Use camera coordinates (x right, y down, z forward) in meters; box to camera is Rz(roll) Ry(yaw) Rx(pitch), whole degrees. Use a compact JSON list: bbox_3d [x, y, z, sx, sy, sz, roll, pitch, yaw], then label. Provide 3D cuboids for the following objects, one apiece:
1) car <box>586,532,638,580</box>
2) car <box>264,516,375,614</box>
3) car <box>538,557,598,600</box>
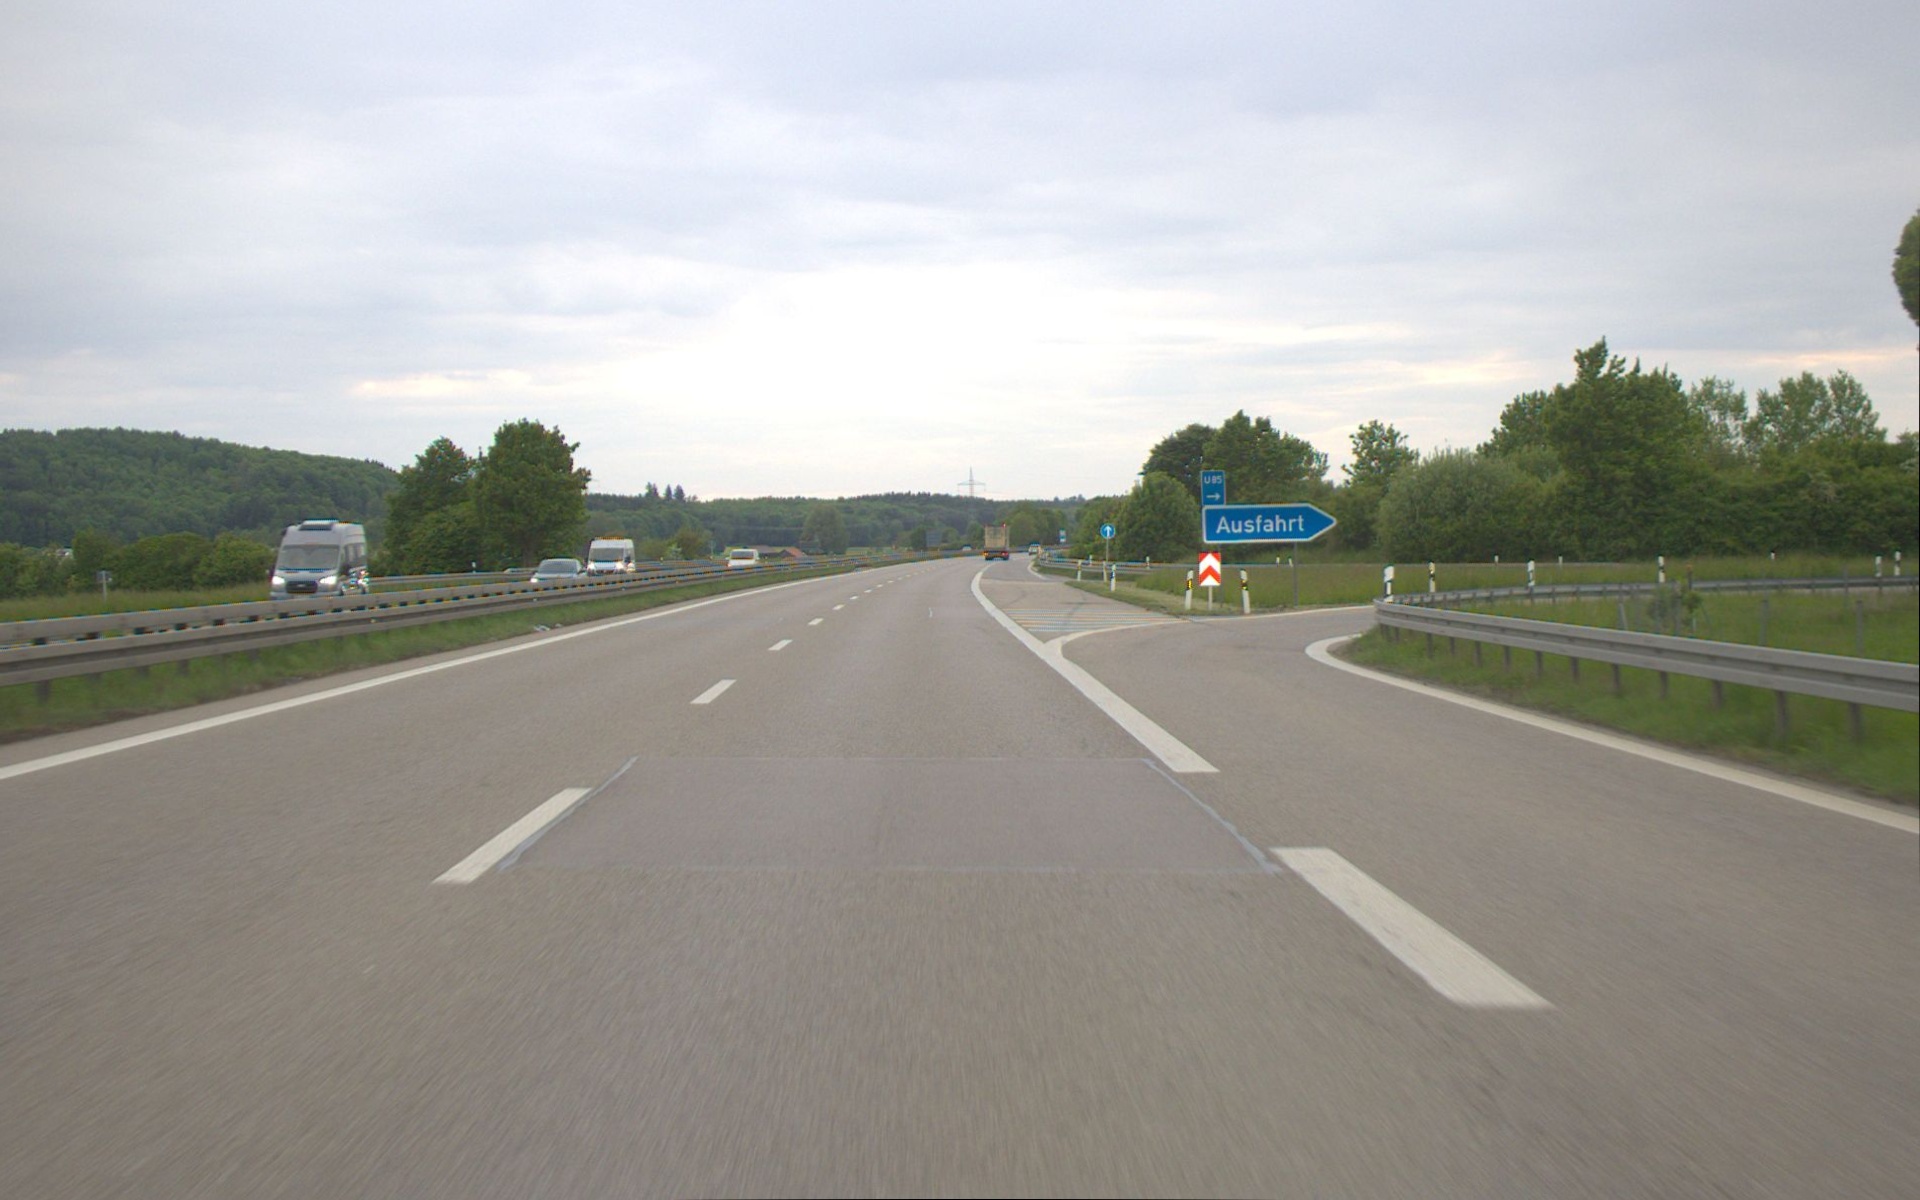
[{"bbox_3d":[-18.472,-2.336,182.651,2.145,2.474,6.589,0,1,0],"label":"car"},{"bbox_3d":[-18.891,-1.064,101.705,2.105,2.791,6.427,0,1,0],"label":"car"},{"bbox_3d":[-14.362,-0.804,126.179,1.747,1.502,4.200,0,1,0],"label":"car"}]
